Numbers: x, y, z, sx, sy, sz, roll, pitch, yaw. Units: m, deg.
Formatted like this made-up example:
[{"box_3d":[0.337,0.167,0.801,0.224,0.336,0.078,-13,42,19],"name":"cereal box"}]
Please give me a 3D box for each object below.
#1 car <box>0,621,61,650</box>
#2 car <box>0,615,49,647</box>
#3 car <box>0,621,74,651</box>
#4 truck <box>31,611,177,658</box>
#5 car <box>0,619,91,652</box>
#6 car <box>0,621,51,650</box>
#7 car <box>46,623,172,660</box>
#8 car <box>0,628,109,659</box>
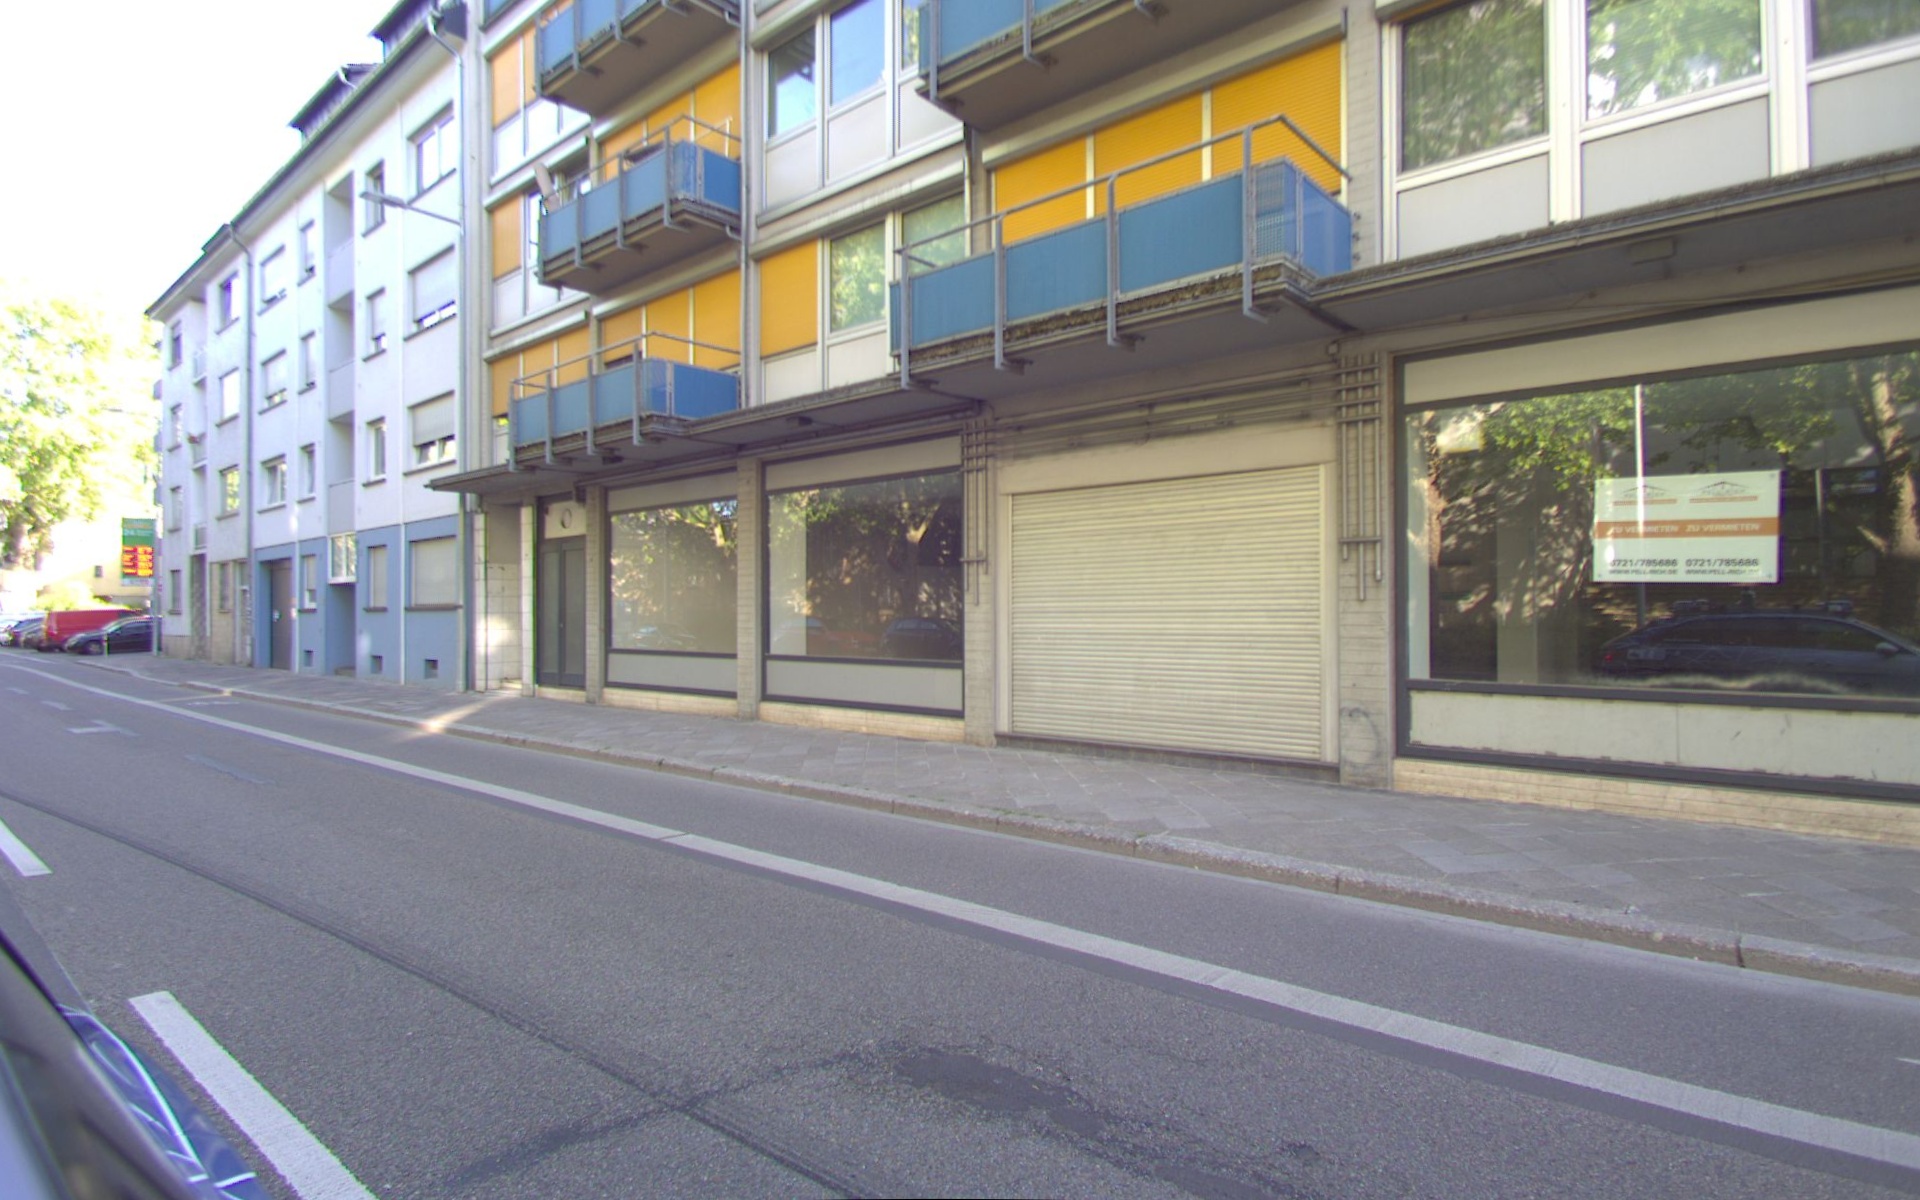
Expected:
[{"box_3d":[-55.066,2.081,58.996,1.715,1.594,3.660,-1,0,35],"name":"car"},{"box_3d":[-59.726,1.967,63.799,1.693,1.953,3.224,-1,0,43],"name":"car"},{"box_3d":[-52.882,2.036,57.467,1.656,1.599,3.615,-1,0,35],"name":"car"},{"box_3d":[-40.349,1.582,47.831,1.998,2.036,5.024,-1,0,40],"name":"truck"},{"box_3d":[-50.822,1.933,55.963,1.699,1.640,3.952,-1,0,35],"name":"car"},{"box_3d":[-56.887,2.122,60.388,1.740,1.600,3.685,-1,0,35],"name":"car"},{"box_3d":[-36.827,1.750,43.848,1.780,1.404,3.947,-1,0,39],"name":"car"},{"box_3d":[-43.446,2.035,48.333,1.904,1.282,3.983,-1,0,39],"name":"car"}]
